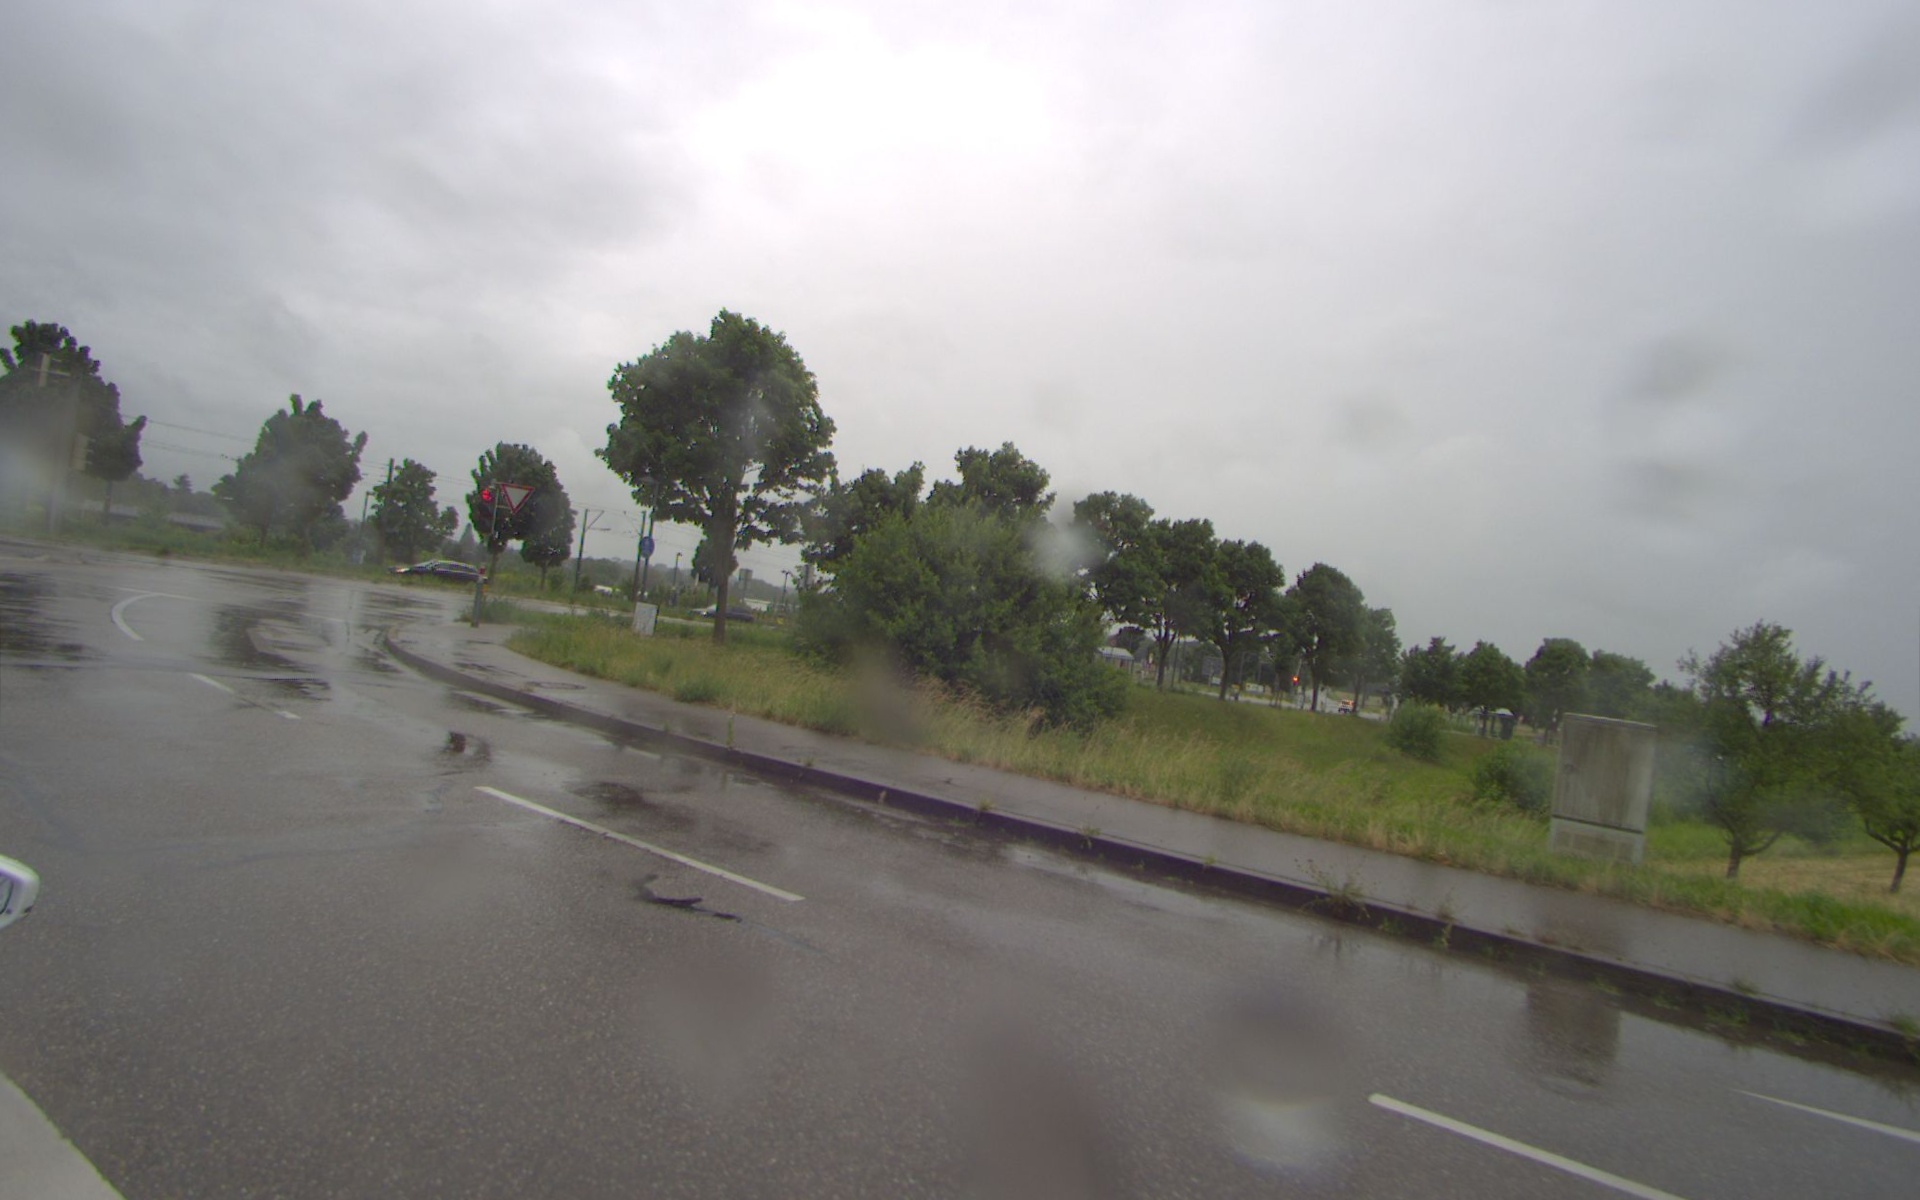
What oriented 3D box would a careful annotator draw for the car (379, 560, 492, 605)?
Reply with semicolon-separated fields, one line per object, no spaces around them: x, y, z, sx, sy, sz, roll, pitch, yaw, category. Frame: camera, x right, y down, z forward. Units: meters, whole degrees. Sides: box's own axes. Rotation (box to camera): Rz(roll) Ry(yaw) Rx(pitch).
-26.449;-0.846;50.900;1.793;1.572;4.675;8;-1;34;car

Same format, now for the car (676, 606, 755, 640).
-15.802;1.506;65.176;1.796;1.572;4.668;7;-1;39;car
